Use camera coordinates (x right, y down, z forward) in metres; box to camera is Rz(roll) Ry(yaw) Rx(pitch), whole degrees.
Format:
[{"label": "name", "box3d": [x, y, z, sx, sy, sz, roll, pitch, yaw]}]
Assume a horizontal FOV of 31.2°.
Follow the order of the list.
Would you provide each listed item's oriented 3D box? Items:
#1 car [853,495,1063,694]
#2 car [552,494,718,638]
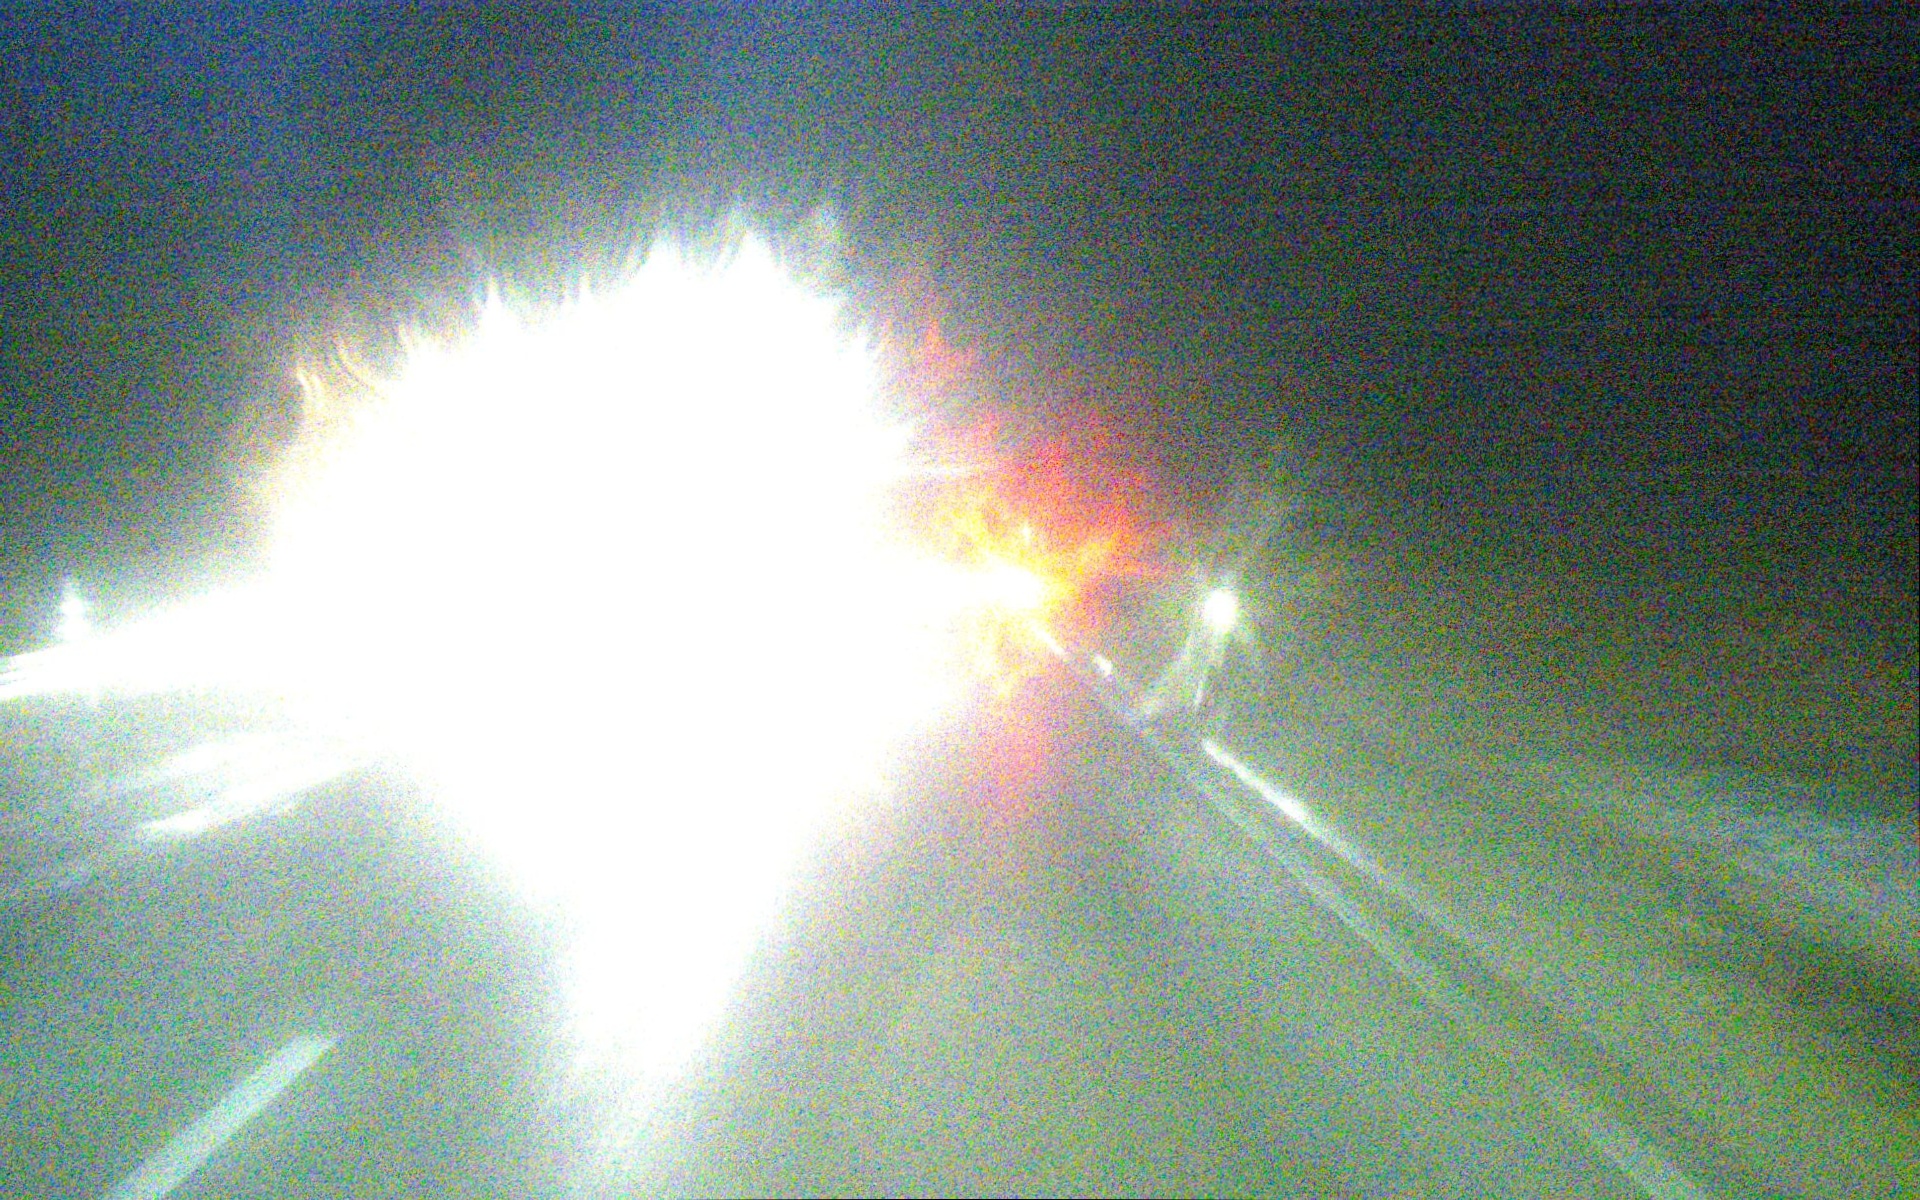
[{"label": "car", "box3d": [-0.039, -0.110, 34.932, 1.993, 1.800, 3.918, -1, 3, -1]}, {"label": "car", "box3d": [-4.348, -0.506, 46.508, 1.993, 1.775, 4.001, 0, 3, -2]}]
